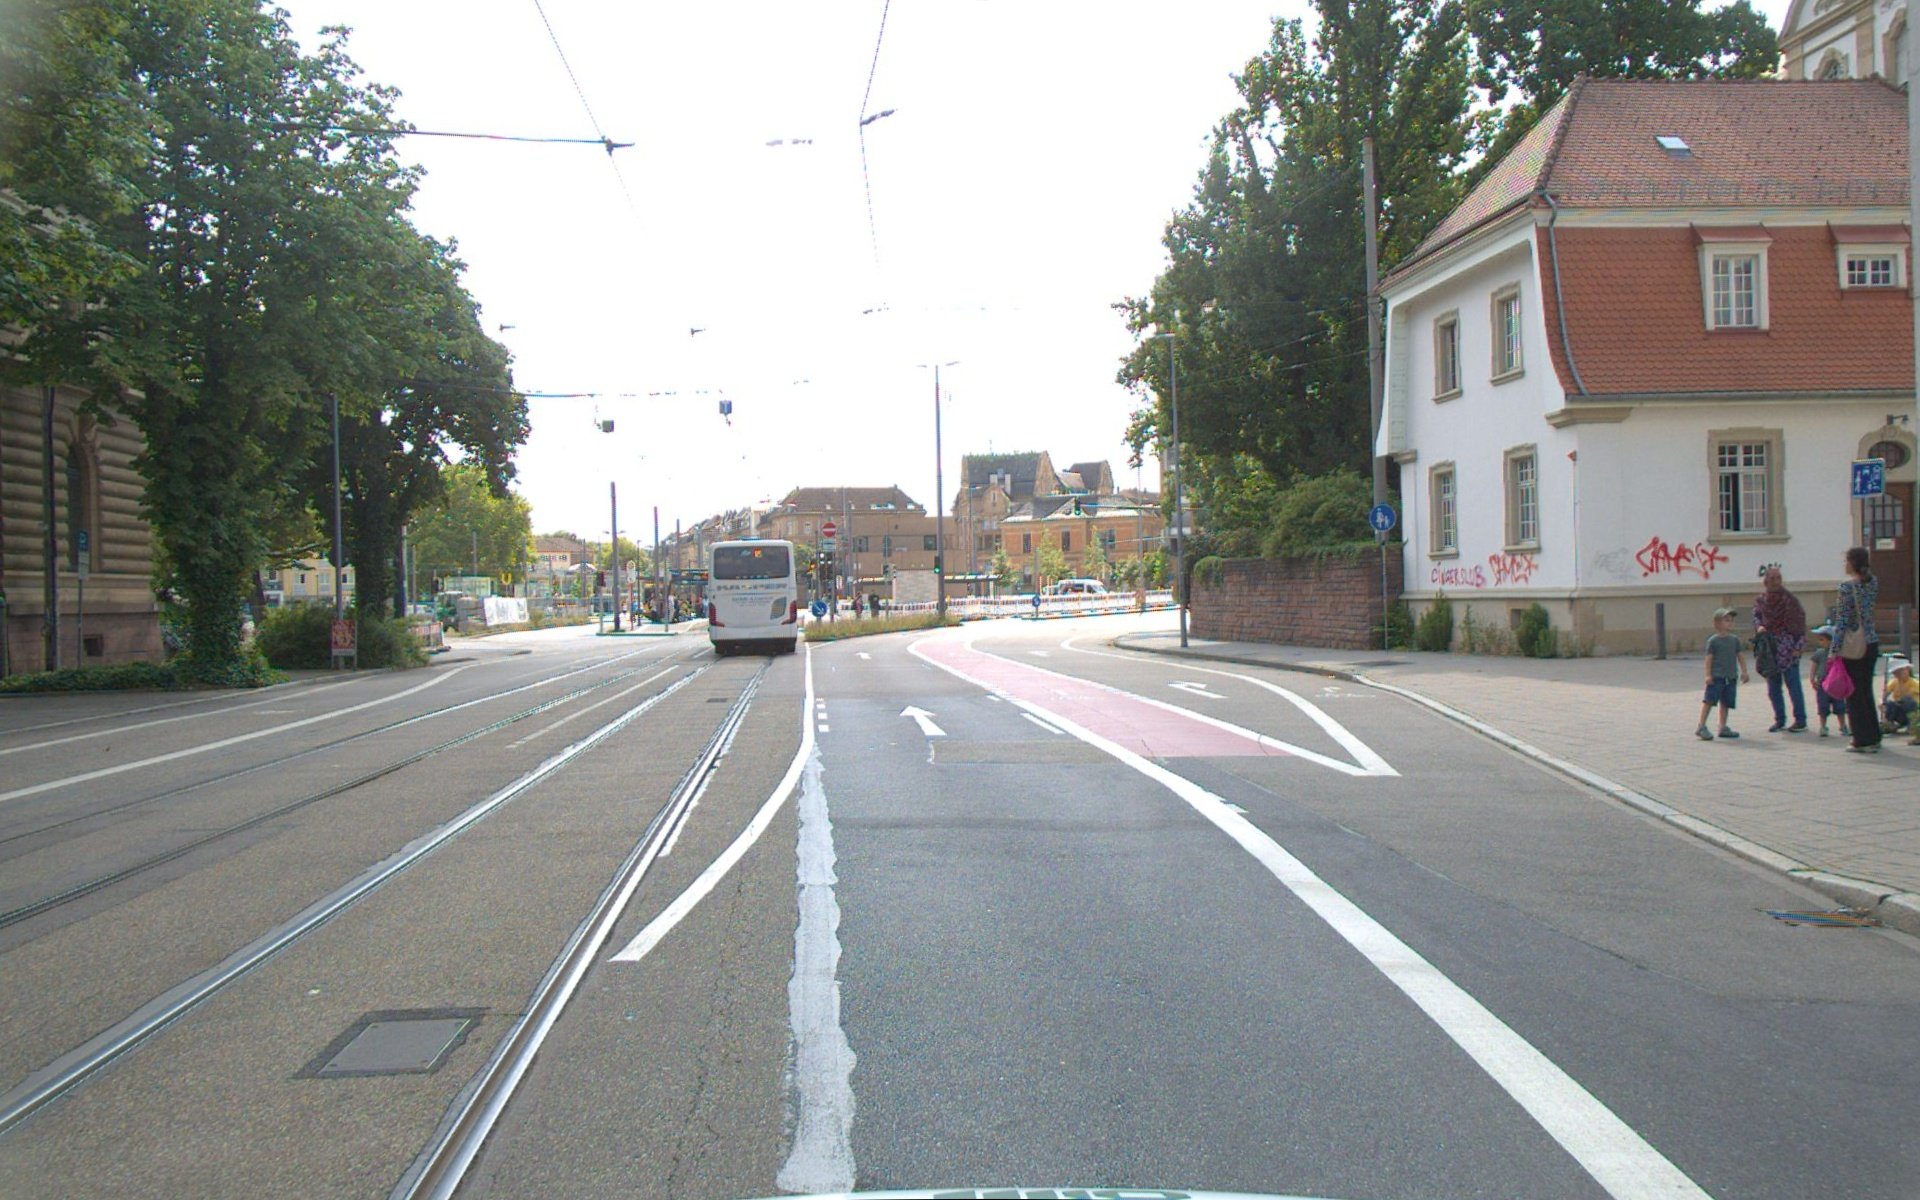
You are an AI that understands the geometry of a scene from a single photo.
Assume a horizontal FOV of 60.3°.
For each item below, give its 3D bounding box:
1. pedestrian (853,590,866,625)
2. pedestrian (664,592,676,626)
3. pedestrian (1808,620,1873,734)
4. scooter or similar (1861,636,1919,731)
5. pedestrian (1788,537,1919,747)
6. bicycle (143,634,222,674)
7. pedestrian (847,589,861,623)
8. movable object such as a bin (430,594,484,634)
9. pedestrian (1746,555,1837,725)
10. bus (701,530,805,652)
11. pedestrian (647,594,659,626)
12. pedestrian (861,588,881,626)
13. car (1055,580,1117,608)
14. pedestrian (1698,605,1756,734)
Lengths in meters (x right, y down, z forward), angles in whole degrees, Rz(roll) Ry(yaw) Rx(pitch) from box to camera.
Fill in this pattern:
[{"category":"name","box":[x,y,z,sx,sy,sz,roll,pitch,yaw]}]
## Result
[{"category":"pedestrian","box":[-5.228,0.375,85.707,0.400,1.766,0.621,-2,0,23]},{"category":"pedestrian","box":[-16.912,0.527,96.467,0.599,1.918,0.793,-2,0,-5]},{"category":"pedestrian","box":[8.305,0.718,15.600,0.337,1.028,0.395,-3,1,-14]},{"category":"scooter or similar","box":[8.673,0.766,15.358,0.542,0.814,0.265,-5,2,-29]},{"category":"pedestrian","box":[7.783,0.348,14.432,0.671,1.754,0.746,-3,1,-2]},{"category":"bicycle","box":[-24.225,1.677,51.554,2.074,1.188,0.729,-1,-1,-7]},{"category":"pedestrian","box":[-5.424,0.302,84.662,0.598,1.736,0.623,-2,0,0]},{"category":"movable object such as a bin","box":[-34.912,0.951,114.908,2.589,2.619,3.997,-2,0,-3]},{"category":"pedestrian","box":[8.130,0.378,16.181,0.511,1.607,0.546,-3,1,-15]},{"category":"bus","box":[-6.438,-0.199,52.331,2.862,3.386,12.189,-1,0,-6]},{"category":"pedestrian","box":[-18.758,0.585,101.133,0.599,1.918,0.793,-2,0,-5]},{"category":"pedestrian","box":[-4.643,0.367,86.451,0.785,1.918,0.605,-2,0,-37]},{"category":"car","box":[11.295,-0.553,148.109,2.282,2.359,5.504,-1,-1,-41]},{"category":"pedestrian","box":[7.516,0.677,16.216,0.396,1.221,0.423,-3,1,14]}]
